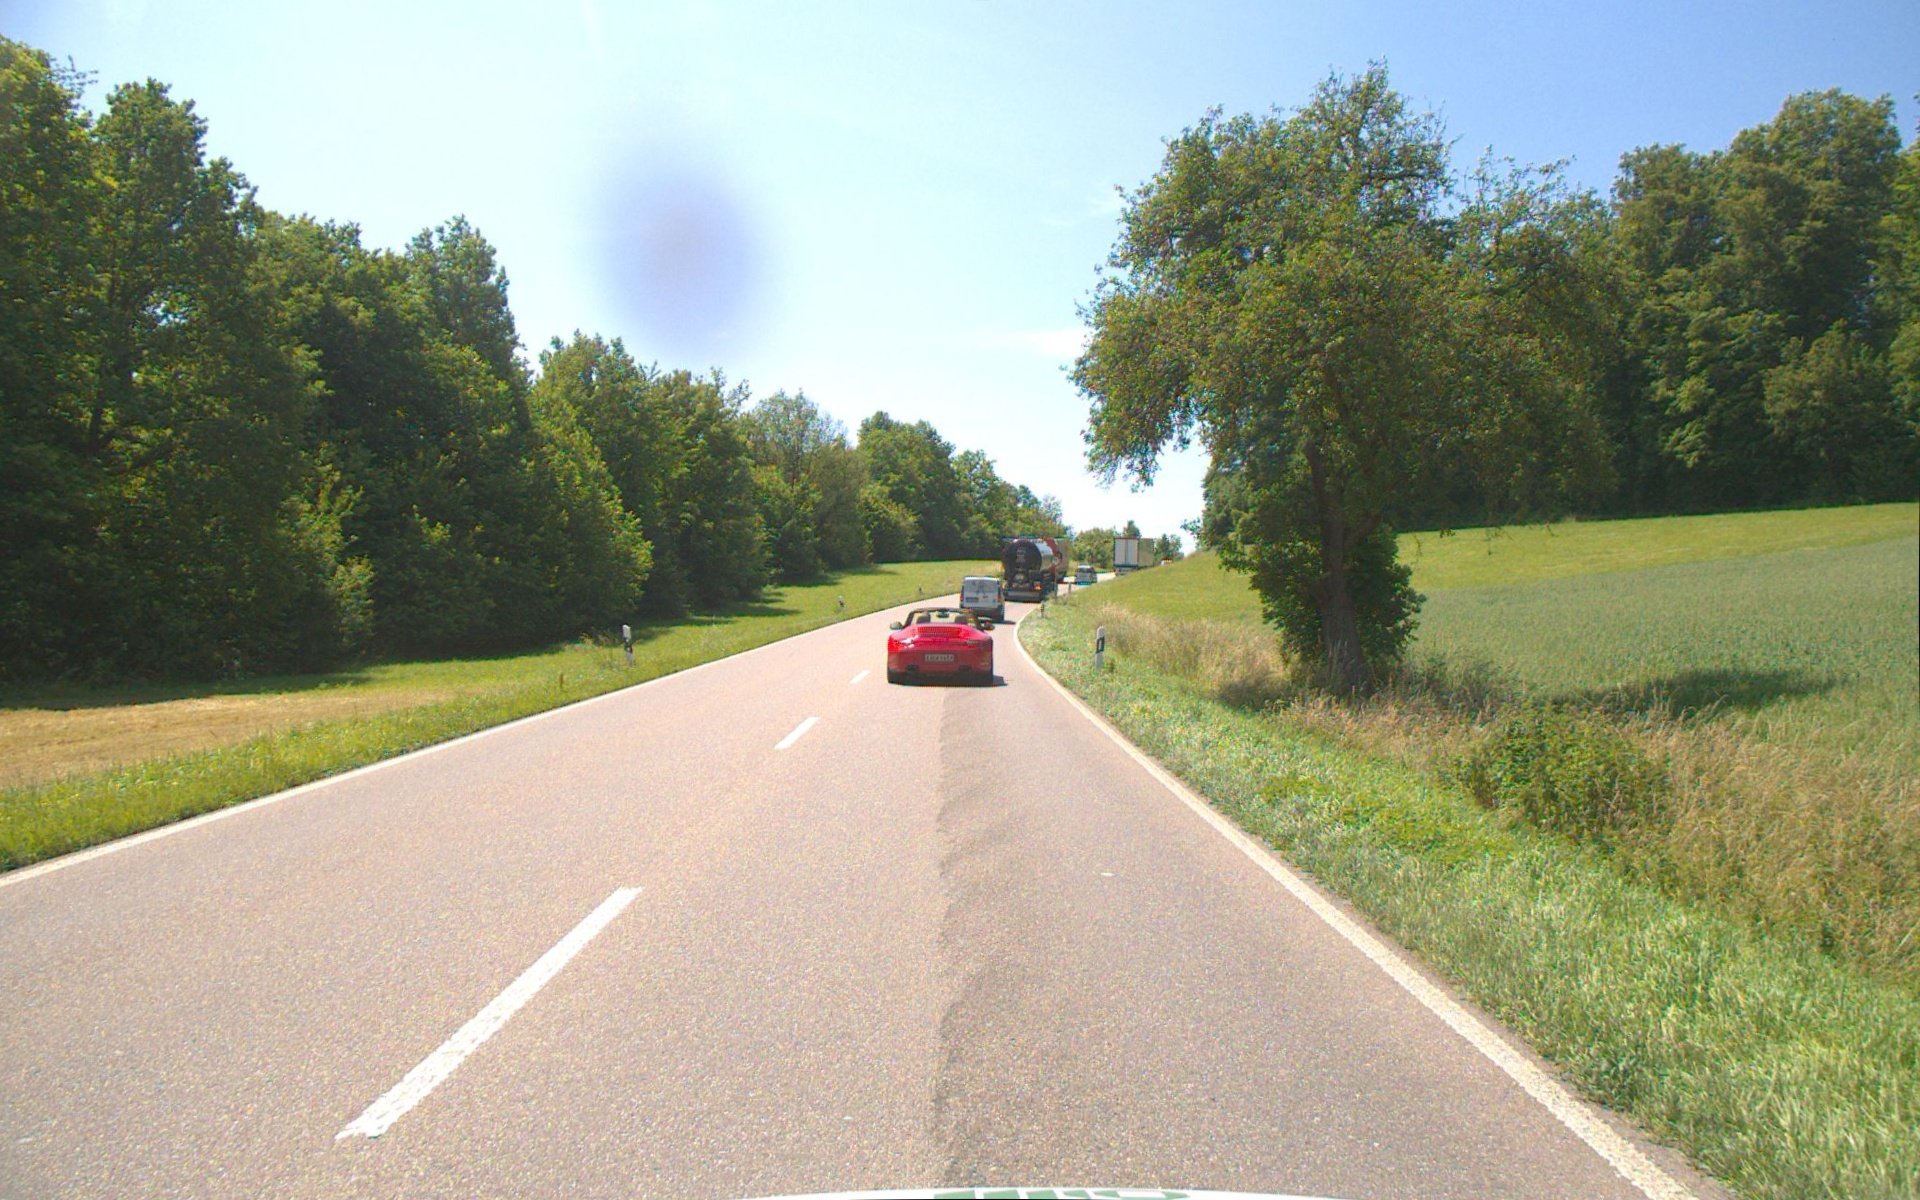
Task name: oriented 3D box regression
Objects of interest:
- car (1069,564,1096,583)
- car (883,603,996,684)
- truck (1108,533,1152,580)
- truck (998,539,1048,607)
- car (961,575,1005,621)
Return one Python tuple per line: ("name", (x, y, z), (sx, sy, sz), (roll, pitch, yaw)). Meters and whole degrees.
("car", (10.480, -2.270, 141.323), (1.792, 1.540, 4.195), (0, 2, 11))
("car", (-0.377, 0.728, 29.412), (1.844, 1.277, 4.008), (1, 0, -1))
("truck", (17.894, -4.608, 173.675), (3.645, 4.741, 12.043), (0, 2, 10))
("truck", (4.163, -1.730, 106.837), (2.353, 4.120, 12.559), (0, 1, 6))
("car", (1.045, -0.134, 72.512), (1.643, 1.934, 4.012), (1, 1, 5))
